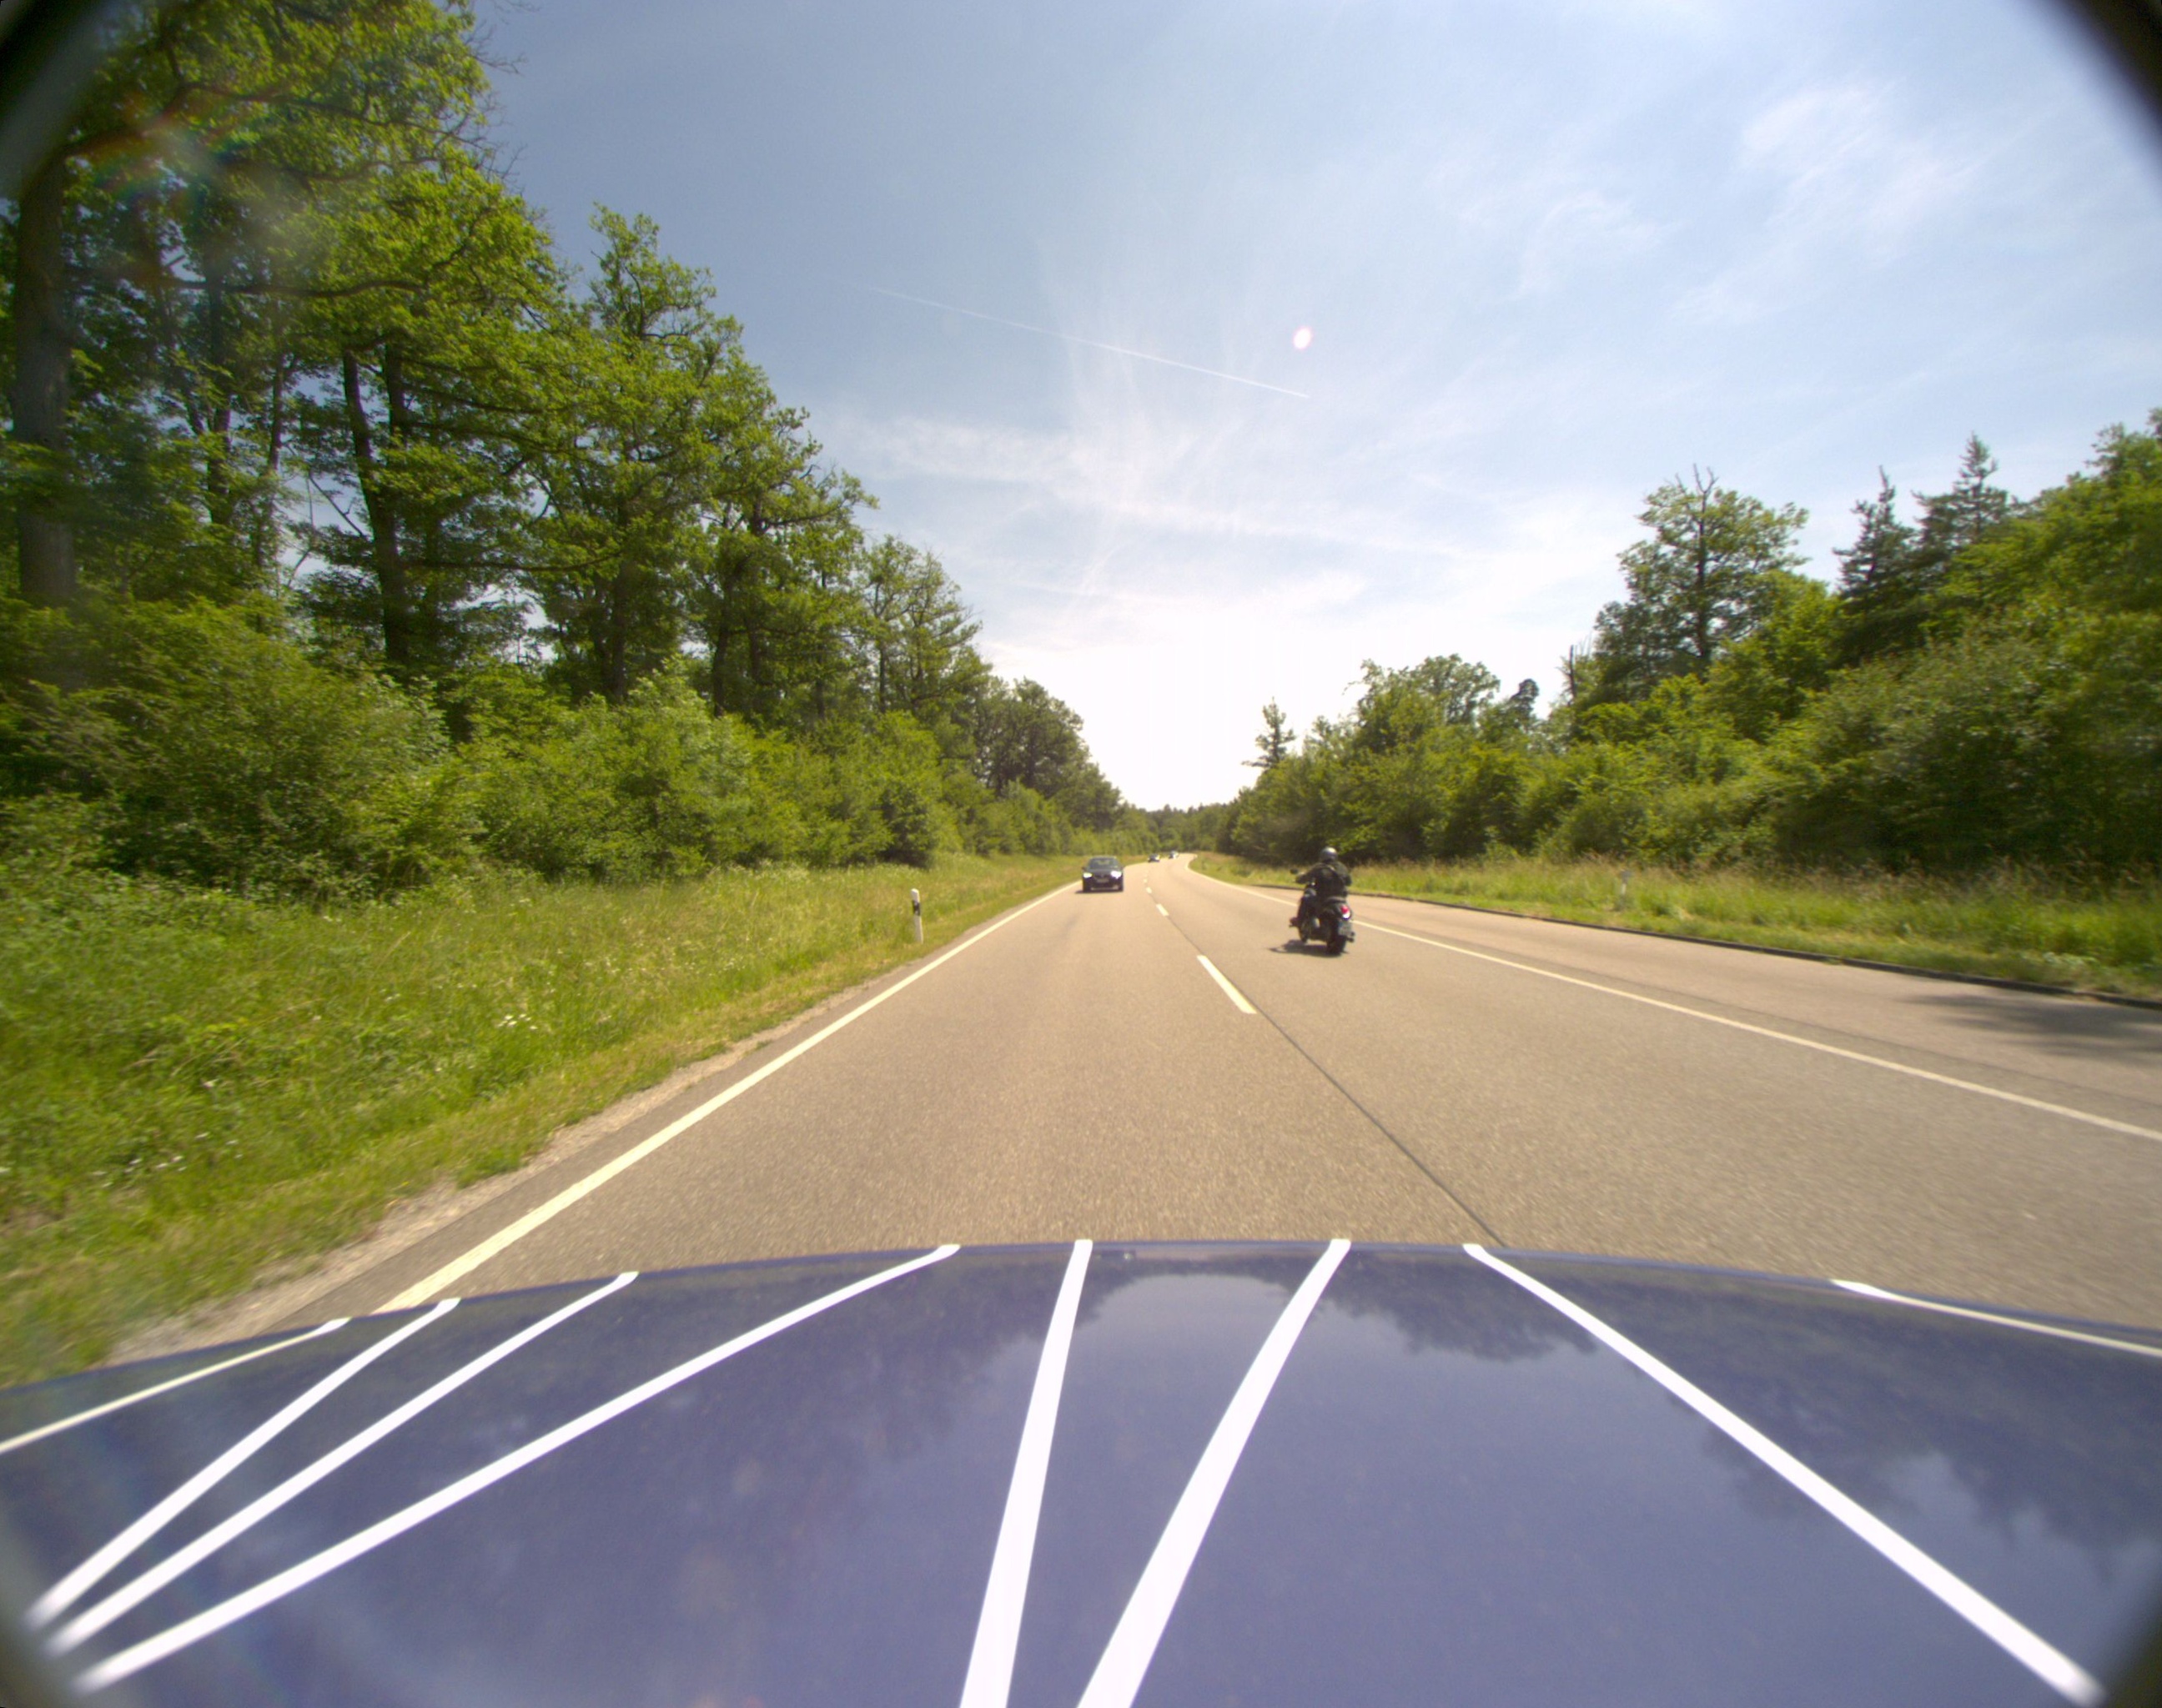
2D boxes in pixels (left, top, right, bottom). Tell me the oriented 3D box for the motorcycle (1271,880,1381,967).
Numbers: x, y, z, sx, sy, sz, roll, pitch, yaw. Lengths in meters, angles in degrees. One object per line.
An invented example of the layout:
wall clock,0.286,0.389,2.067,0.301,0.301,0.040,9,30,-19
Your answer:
motorcycle,3.694,1.000,11.766,1.016,1.056,2.773,-2,0,5

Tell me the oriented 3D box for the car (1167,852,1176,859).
car,20.854,0.282,174.843,1.774,1.454,4.003,-2,0,12

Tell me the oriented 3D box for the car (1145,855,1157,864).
car,11.775,0.921,127.808,1.775,1.454,3.950,-2,0,7

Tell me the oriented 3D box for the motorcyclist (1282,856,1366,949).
motorcyclist,3.687,0.716,11.617,1.012,1.319,0.966,-2,1,5

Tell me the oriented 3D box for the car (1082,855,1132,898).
car,1.159,0.882,31.581,1.713,1.516,4.243,-3,0,6
